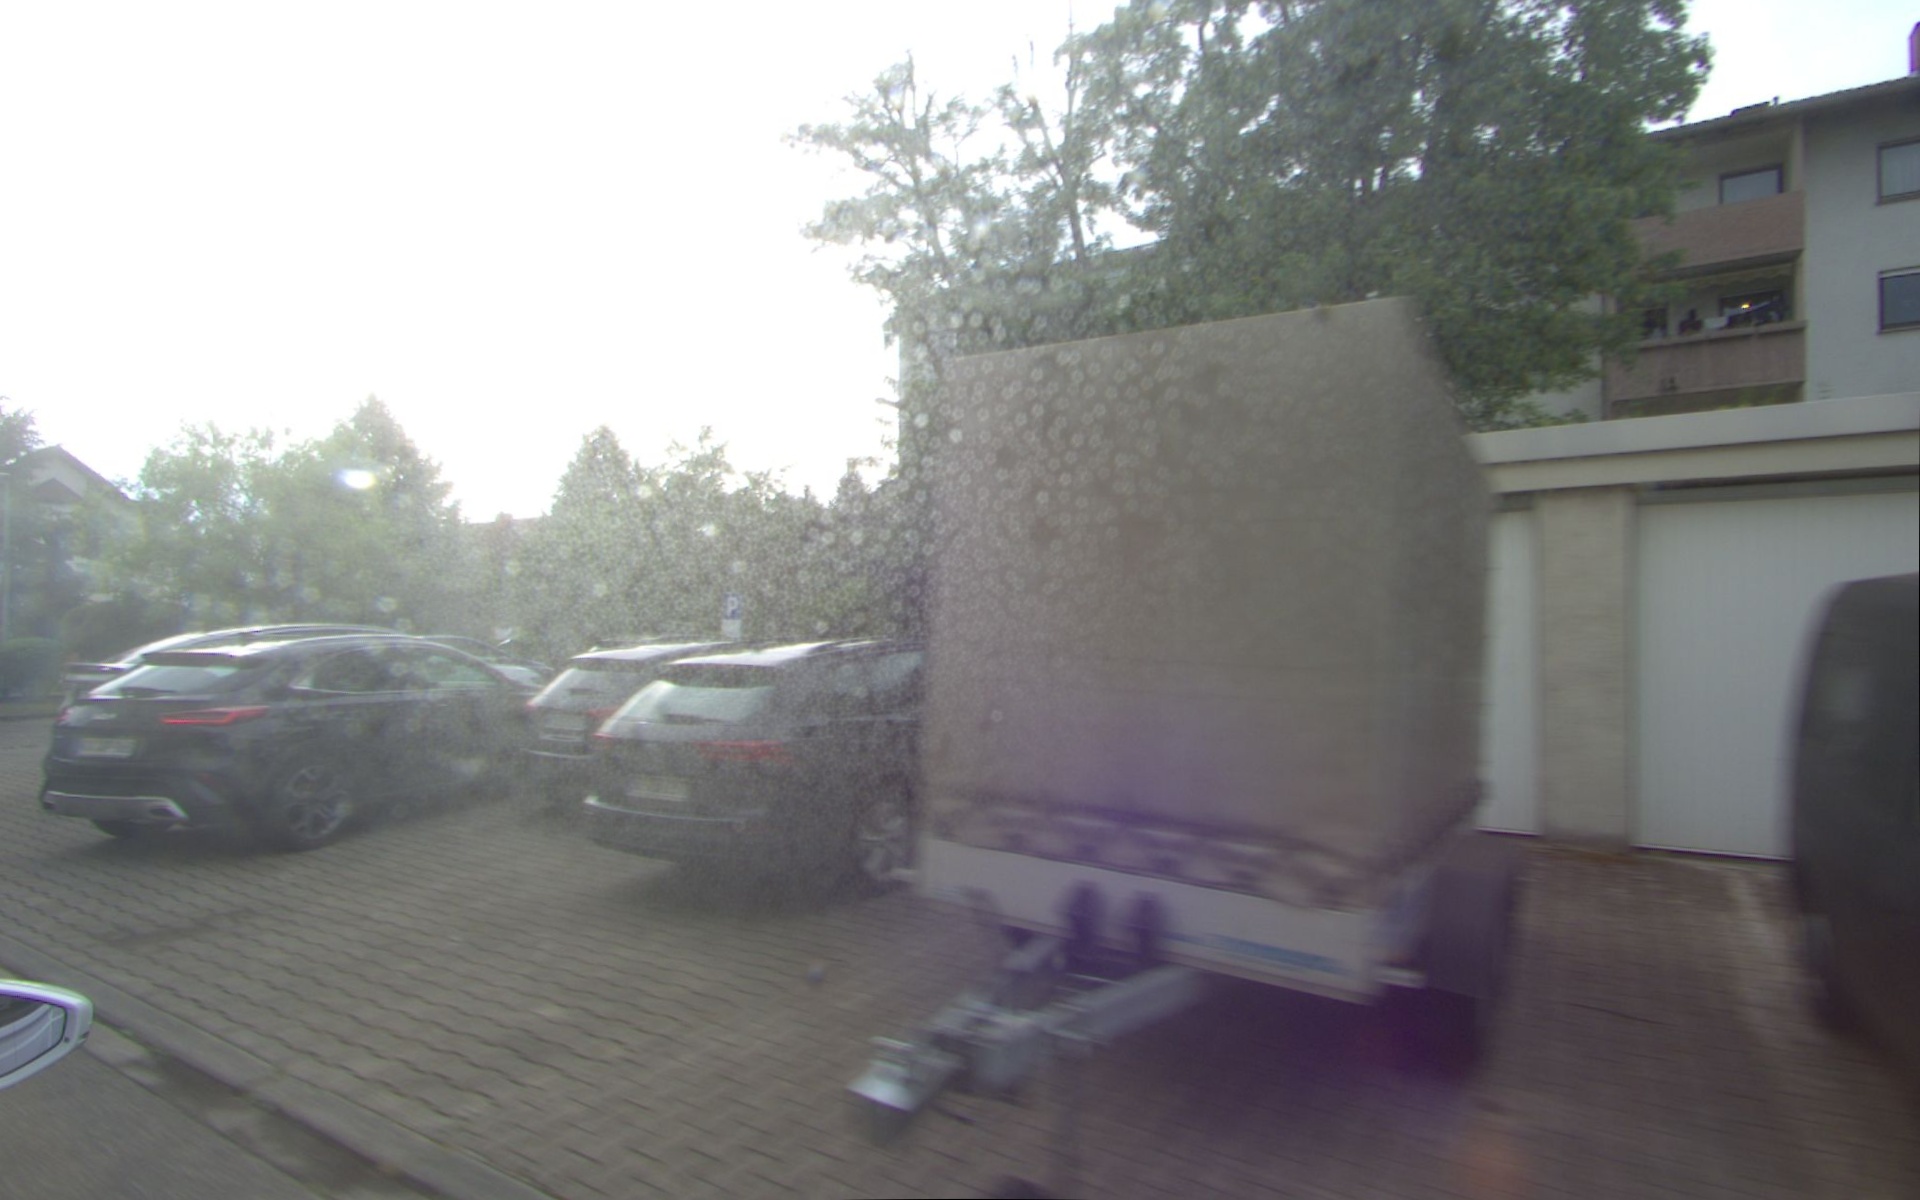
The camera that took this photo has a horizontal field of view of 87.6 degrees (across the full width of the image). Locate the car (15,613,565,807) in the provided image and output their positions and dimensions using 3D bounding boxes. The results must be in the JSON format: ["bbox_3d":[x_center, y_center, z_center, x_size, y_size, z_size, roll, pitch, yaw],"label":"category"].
[{"bbox_3d":[-6.842,0.988,10.777,1.961,1.609,4.527,0,-2,34],"label":"car"}]

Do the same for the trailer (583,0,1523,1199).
[{"bbox_3d":[1.056,0.384,4.060,1.915,2.557,4.602,0,-2,32],"label":"trailer"}]

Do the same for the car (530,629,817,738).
[{"bbox_3d":[-4.179,1.152,15.161,1.943,1.398,3.891,0,-2,32],"label":"car"}]

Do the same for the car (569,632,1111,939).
[{"bbox_3d":[-0.481,0.968,7.036,1.589,1.467,4.121,-1,-2,32],"label":"car"}]

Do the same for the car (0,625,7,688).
[{"bbox_3d":[-25.237,1.356,23.323,1.725,1.550,4.169,-3,-4,36],"label":"car"}]

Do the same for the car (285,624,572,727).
[{"bbox_3d":[-8.984,1.202,17.231,1.998,1.530,3.891,0,-2,32],"label":"car"}]

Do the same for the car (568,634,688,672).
[{"bbox_3d":[-13.439,2.124,40.755,1.760,1.446,4.449,-3,-4,37],"label":"car"}]

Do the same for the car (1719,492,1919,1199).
[{"bbox_3d":[3.383,0.670,2.459,1.971,1.826,4.302,0,0,31],"label":"car"}]

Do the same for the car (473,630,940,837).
[{"bbox_3d":[-2.113,1.024,9.356,1.889,1.467,3.986,-1,-2,35],"label":"car"}]

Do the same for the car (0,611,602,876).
[{"bbox_3d":[-5.041,0.902,8.285,1.963,1.572,3.995,0,0,15],"label":"car"}]
